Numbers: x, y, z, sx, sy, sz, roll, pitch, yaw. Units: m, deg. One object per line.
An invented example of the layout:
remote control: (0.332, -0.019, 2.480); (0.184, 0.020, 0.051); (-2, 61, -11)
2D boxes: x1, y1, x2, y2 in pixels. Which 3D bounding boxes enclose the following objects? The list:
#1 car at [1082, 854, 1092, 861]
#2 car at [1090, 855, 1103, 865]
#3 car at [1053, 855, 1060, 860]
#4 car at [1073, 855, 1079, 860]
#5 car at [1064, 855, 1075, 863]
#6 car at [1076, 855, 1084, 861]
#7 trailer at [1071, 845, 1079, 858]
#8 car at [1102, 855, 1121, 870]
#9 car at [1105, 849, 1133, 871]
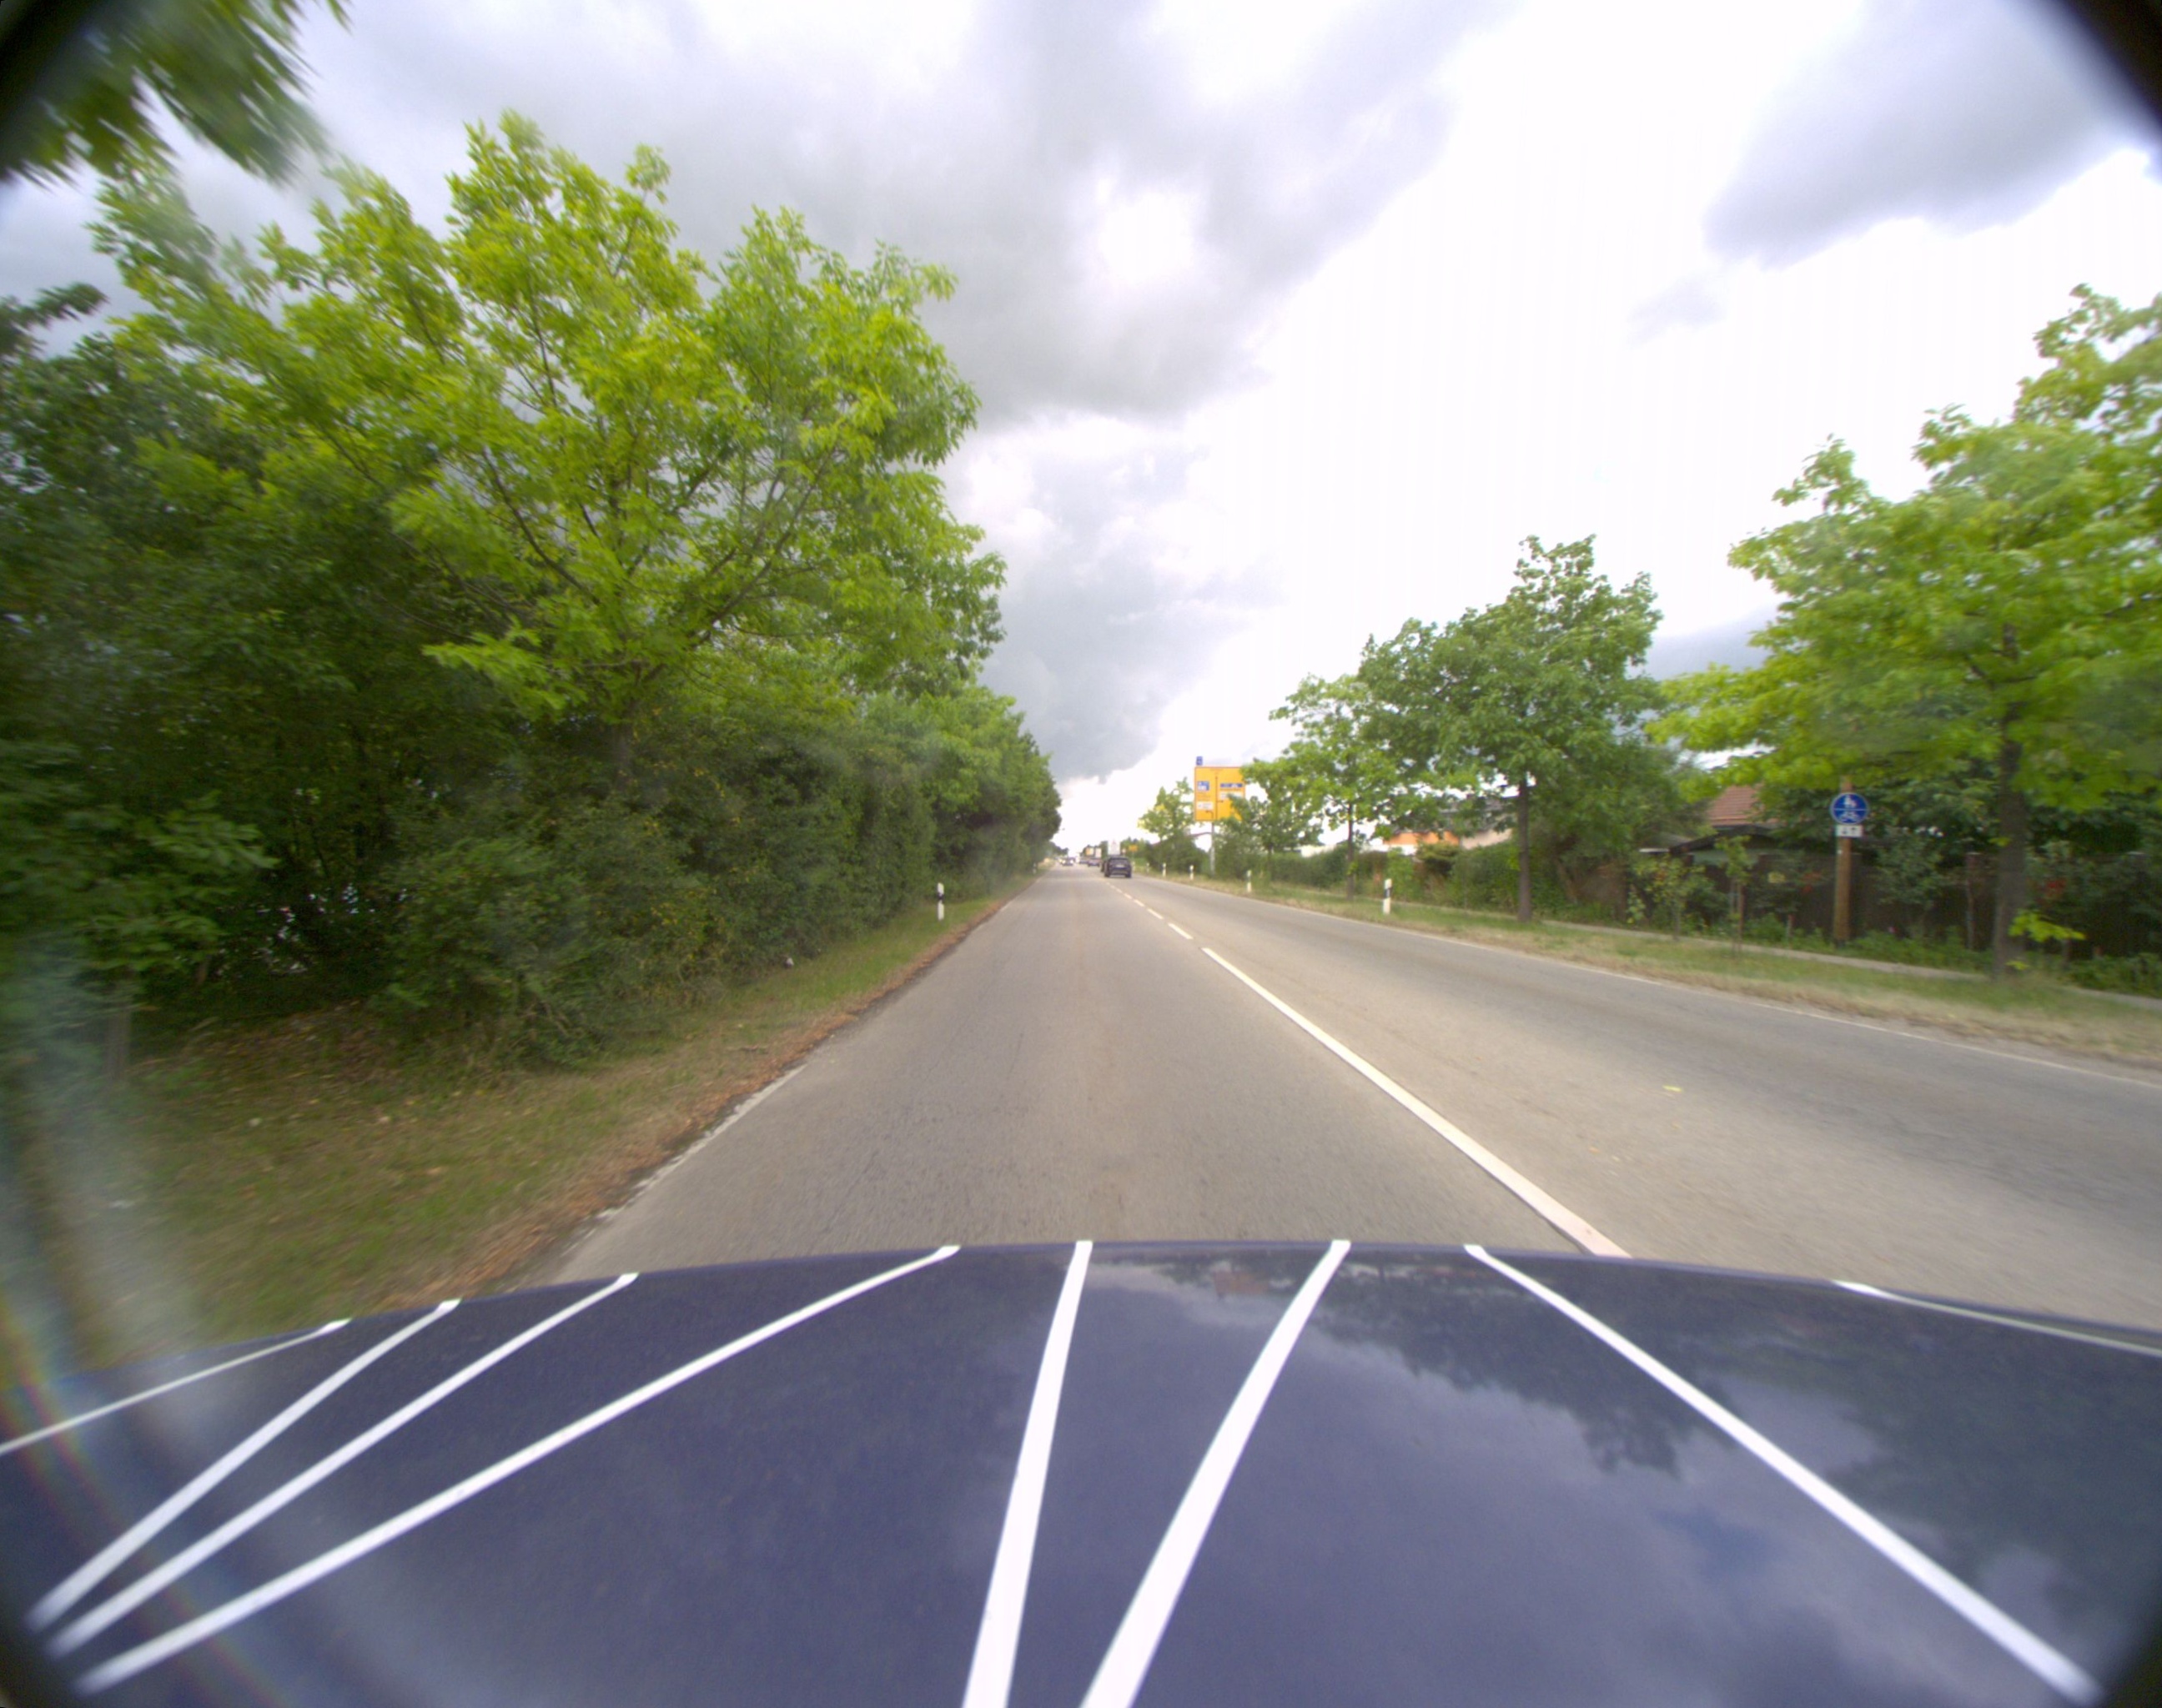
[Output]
car: (1.230, 0.813, 161.777); (1.857, 1.456, 4.370); (1, 0, -2)
car: (2.358, 0.878, 118.429); (1.820, 1.485, 4.203); (1, 0, -1)
car: (-7.046, 0.927, 218.392); (1.778, 1.407, 4.079); (2, 0, -1)
car: (-1.642, 1.089, 241.439); (1.733, 1.577, 4.504); (1, 0, -1)
car: (-1.891, 0.827, 126.231); (1.869, 1.352, 3.826); (0, 0, -1)
car: (-0.218, 1.005, 188.748); (1.778, 1.365, 4.099); (2, 0, -1)
trailer: (-2.001, -0.879, 262.789); (2.641, 4.096, 13.764); (0, 0, -1)
car: (2.976, 0.825, 75.754); (1.681, 1.403, 4.012); (2, 0, 0)
car: (2.703, 0.415, 54.954); (1.738, 1.525, 4.094); (2, 0, -1)
